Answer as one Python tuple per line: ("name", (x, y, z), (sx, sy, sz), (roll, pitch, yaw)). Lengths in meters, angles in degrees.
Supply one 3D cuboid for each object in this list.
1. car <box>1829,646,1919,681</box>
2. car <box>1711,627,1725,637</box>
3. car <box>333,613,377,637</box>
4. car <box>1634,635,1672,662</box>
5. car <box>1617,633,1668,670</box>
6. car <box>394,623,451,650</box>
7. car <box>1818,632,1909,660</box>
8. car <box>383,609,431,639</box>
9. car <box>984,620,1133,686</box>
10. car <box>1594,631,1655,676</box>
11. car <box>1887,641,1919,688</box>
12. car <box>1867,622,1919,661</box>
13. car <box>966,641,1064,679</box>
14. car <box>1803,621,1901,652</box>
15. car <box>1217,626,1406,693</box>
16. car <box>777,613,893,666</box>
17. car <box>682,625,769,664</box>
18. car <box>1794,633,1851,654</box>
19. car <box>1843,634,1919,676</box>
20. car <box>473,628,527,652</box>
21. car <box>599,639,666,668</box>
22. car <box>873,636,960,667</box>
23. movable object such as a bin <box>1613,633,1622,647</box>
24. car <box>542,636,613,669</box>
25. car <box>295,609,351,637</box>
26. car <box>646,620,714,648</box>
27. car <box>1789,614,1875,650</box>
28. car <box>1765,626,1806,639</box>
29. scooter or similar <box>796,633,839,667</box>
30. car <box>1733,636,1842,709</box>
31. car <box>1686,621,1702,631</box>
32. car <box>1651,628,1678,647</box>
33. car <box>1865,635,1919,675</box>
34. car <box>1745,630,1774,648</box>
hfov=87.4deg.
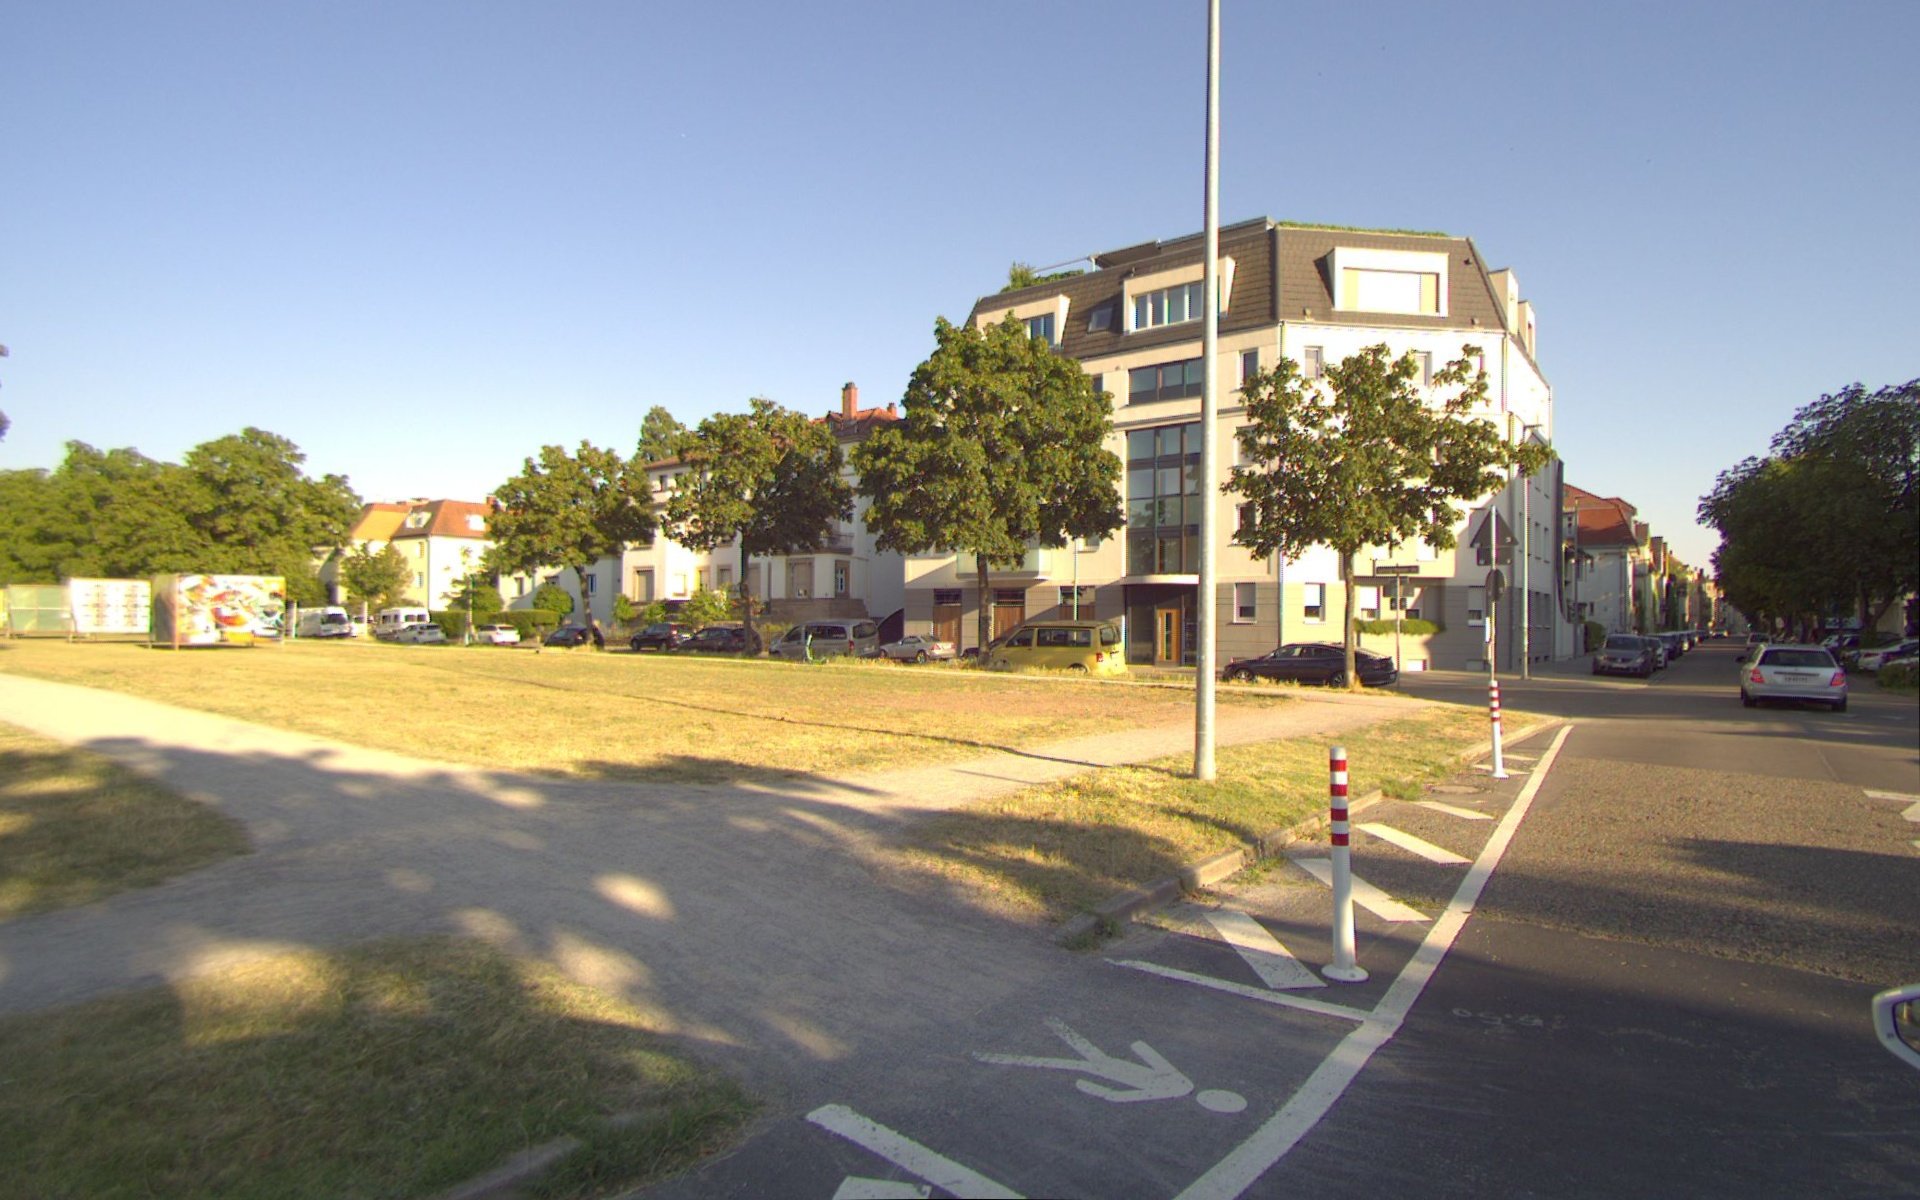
("car", (44.303, 2.998, 47.912), (4.138, 1.578, 1.867), (-1, -2, 37))
("car", (126.268, 5.336, 167.265), (1.511, 1.494, 4.250), (0, -3, 41))
("car", (-50.568, 2.077, 83.949), (4.070, 1.971, 1.990), (0, -2, 41))
("car", (41.632, 2.907, 60.347), (1.829, 1.517, 4.641), (0, -2, 35))
("car", (31.670, 2.356, 46.570), (1.859, 1.612, 4.077), (0, -2, 35))
("car", (-34.056, 2.314, 63.640), (3.777, 1.601, 1.819), (0, -2, 39))
("car", (51.755, 2.622, 57.626), (3.683, 1.578, 1.719), (-1, -2, 37))
("car", (-42.769, 1.830, 77.667), (4.070, 2.243, 1.990), (0, -2, 41))
("car", (3.285, 1.727, 33.878), (4.620, 2.040, 2.025), (0, -2, 38))
("car", (25.760, 2.039, 38.896), (1.859, 1.612, 4.077), (0, -2, 35))
("car", (33.323, 2.129, 33.023), (3.997, 1.525, 1.855), (-1, -2, 37))
("car", (41.814, 1.779, 42.812), (4.469, 1.662, 1.867), (-1, -2, 37))
("car", (2.297, 2.498, 42.409), (3.939, 1.482, 1.670), (-1, -2, 39))
("car", (56.881, 2.299, 64.172), (4.568, 1.861, 1.946), (0, -1, 38))
("car", (9.933, 1.629, 28.594), (4.765, 1.691, 1.781), (0, -2, 39))
("car", (-5.127, 1.575, 40.959), (4.503, 2.040, 2.071), (0, -2, 38))
("car", (-10.423, 1.951, 44.570), (3.777, 1.601, 1.819), (0, -2, 39))
("car", (74.202, 3.711, 86.460), (3.548, 1.682, 1.644), (-1, -1, 36))
("car", (37.560, 2.133, 39.162), (4.415, 1.545, 1.949), (-2, -1, 33))
("car", (-31.723, 2.740, 69.202), (3.906, 1.601, 1.819), (0, -2, 39))
("car", (-19.457, 3.146, 59.679), (4.098, 1.601, 1.819), (0, -2, 39))
("car", (-1.982, 2.313, 45.366), (3.668, 1.256, 1.621), (0, -3, 35))
("movable object such as a bin", (54.063, 3.287, 82.573), (0.521, 1.122, 0.587), (0, -2, 38))
("car", (-20.054, 2.706, 52.651), (3.777, 1.601, 1.819), (0, -2, 39))
("car", (-46.176, 1.680, 72.804), (4.443, 1.971, 2.218), (0, -2, 41))
("car", (-15.862, 1.913, 56.778), (3.946, 1.465, 1.636), (0, -3, 38))
("car", (76.424, 2.769, 88.193), (5.470, 3.008, 2.463), (-1, -1, 36))
("car", (100.960, 3.983, 122.896), (3.798, 1.501, 1.797), (-1, -1, 39))
("scooter or similar", (-4.930, 1.705, 34.699), (1.623, 1.130, 0.451), (0, -1, 39))
("car", (19.051, 1.615, 23.127), (1.796, 1.492, 4.196), (-1, -3, 40))
("car", (104.181, 3.711, 142.599), (1.777, 1.406, 3.592), (0, -1, 38))
("car", (57.403, 3.039, 81.808), (1.639, 1.519, 3.738), (0, -2, 38))
("car", (36.225, 2.016, 37.025), (4.091, 1.467, 1.667), (-2, -3, 37))
("car", (67.083, 3.297, 84.239), (1.796, 1.492, 4.196), (-1, -3, 40))
